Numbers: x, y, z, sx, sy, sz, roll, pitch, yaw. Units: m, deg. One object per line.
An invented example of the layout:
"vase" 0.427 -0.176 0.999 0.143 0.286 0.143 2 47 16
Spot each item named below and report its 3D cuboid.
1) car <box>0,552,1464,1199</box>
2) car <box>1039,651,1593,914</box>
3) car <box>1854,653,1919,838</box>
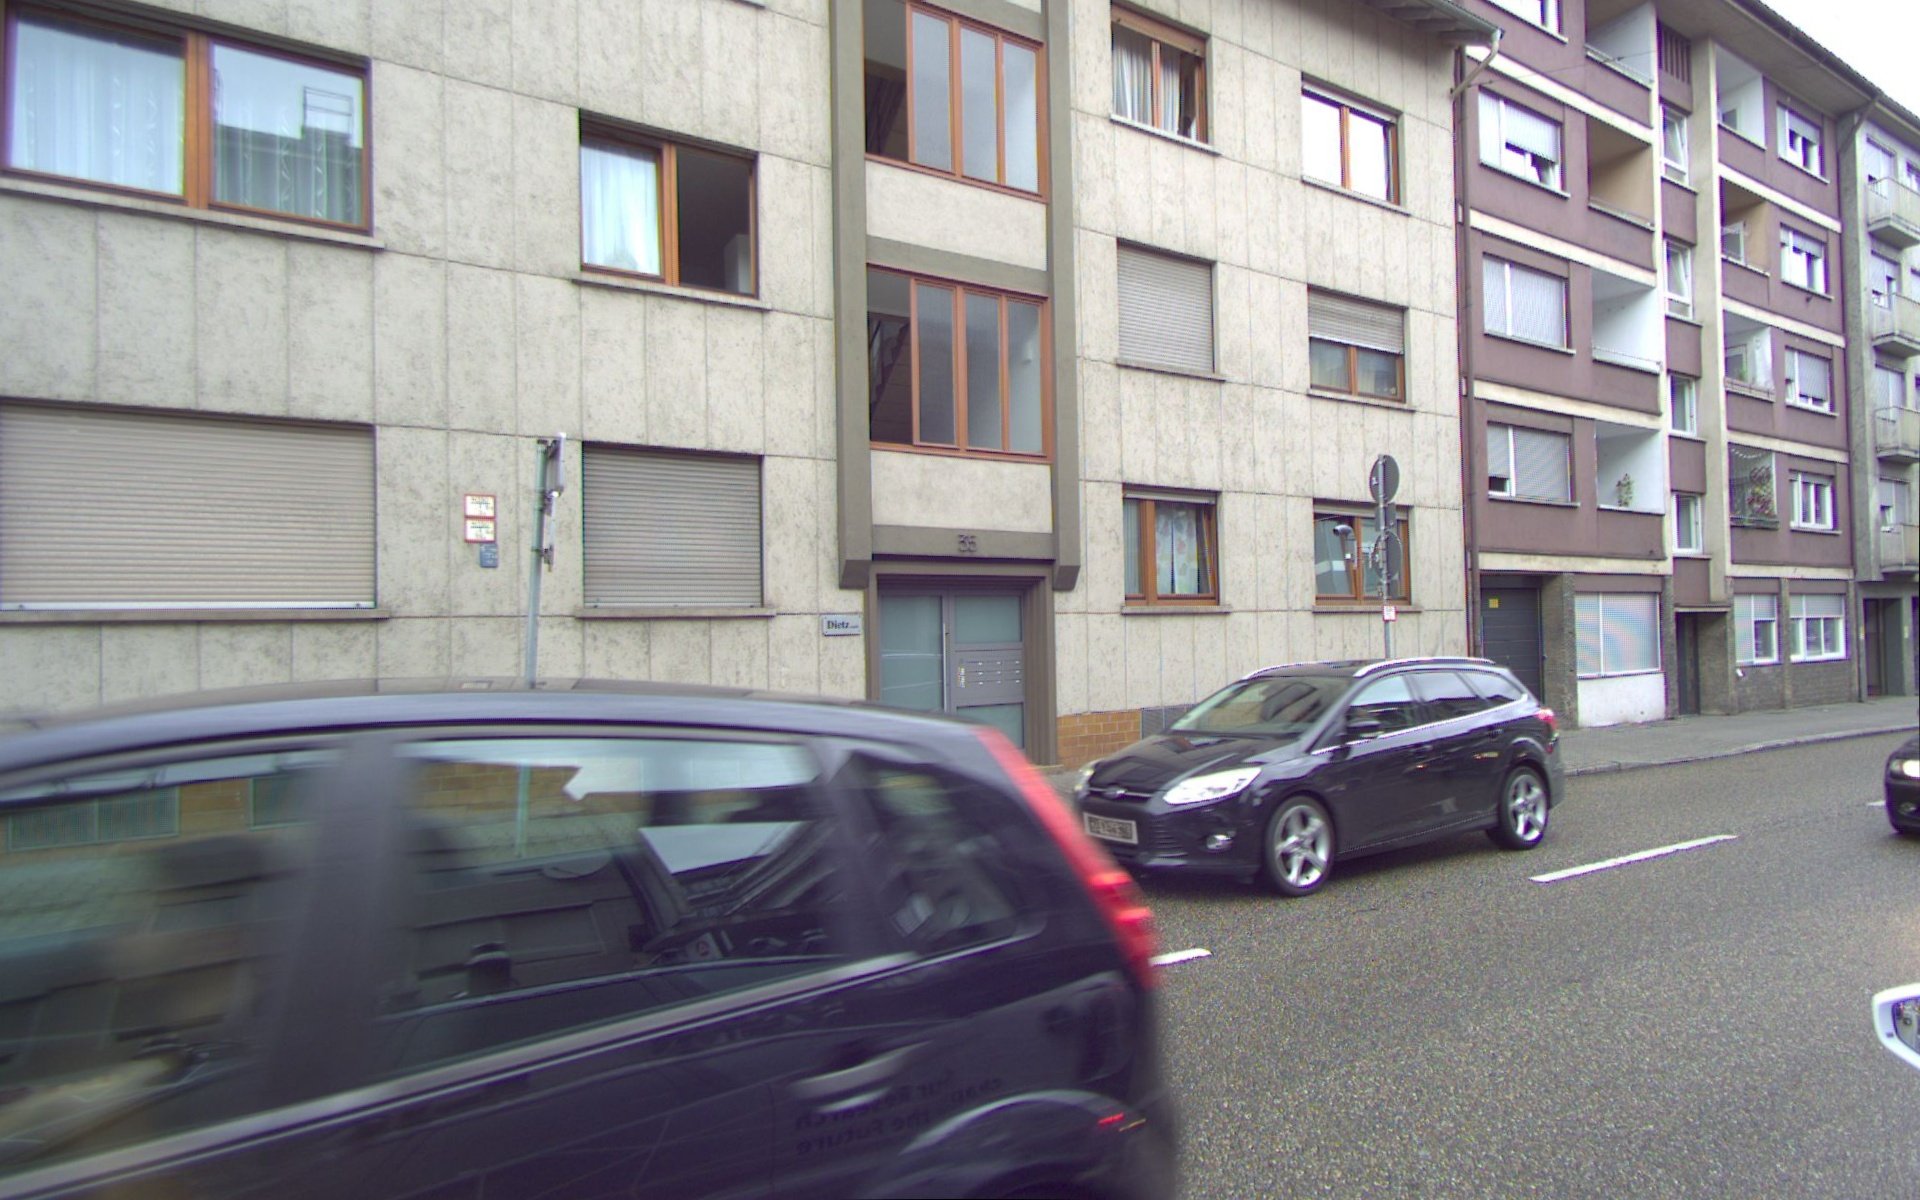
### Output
"car" -1.032 0.793 1.876 4.172 1.559 1.610 2 -4 -33
"car" 2.868 1.190 7.808 4.325 1.492 1.714 1 -4 -32
"car" 9.254 1.127 8.167 4.168 1.388 1.688 2 -5 -30
